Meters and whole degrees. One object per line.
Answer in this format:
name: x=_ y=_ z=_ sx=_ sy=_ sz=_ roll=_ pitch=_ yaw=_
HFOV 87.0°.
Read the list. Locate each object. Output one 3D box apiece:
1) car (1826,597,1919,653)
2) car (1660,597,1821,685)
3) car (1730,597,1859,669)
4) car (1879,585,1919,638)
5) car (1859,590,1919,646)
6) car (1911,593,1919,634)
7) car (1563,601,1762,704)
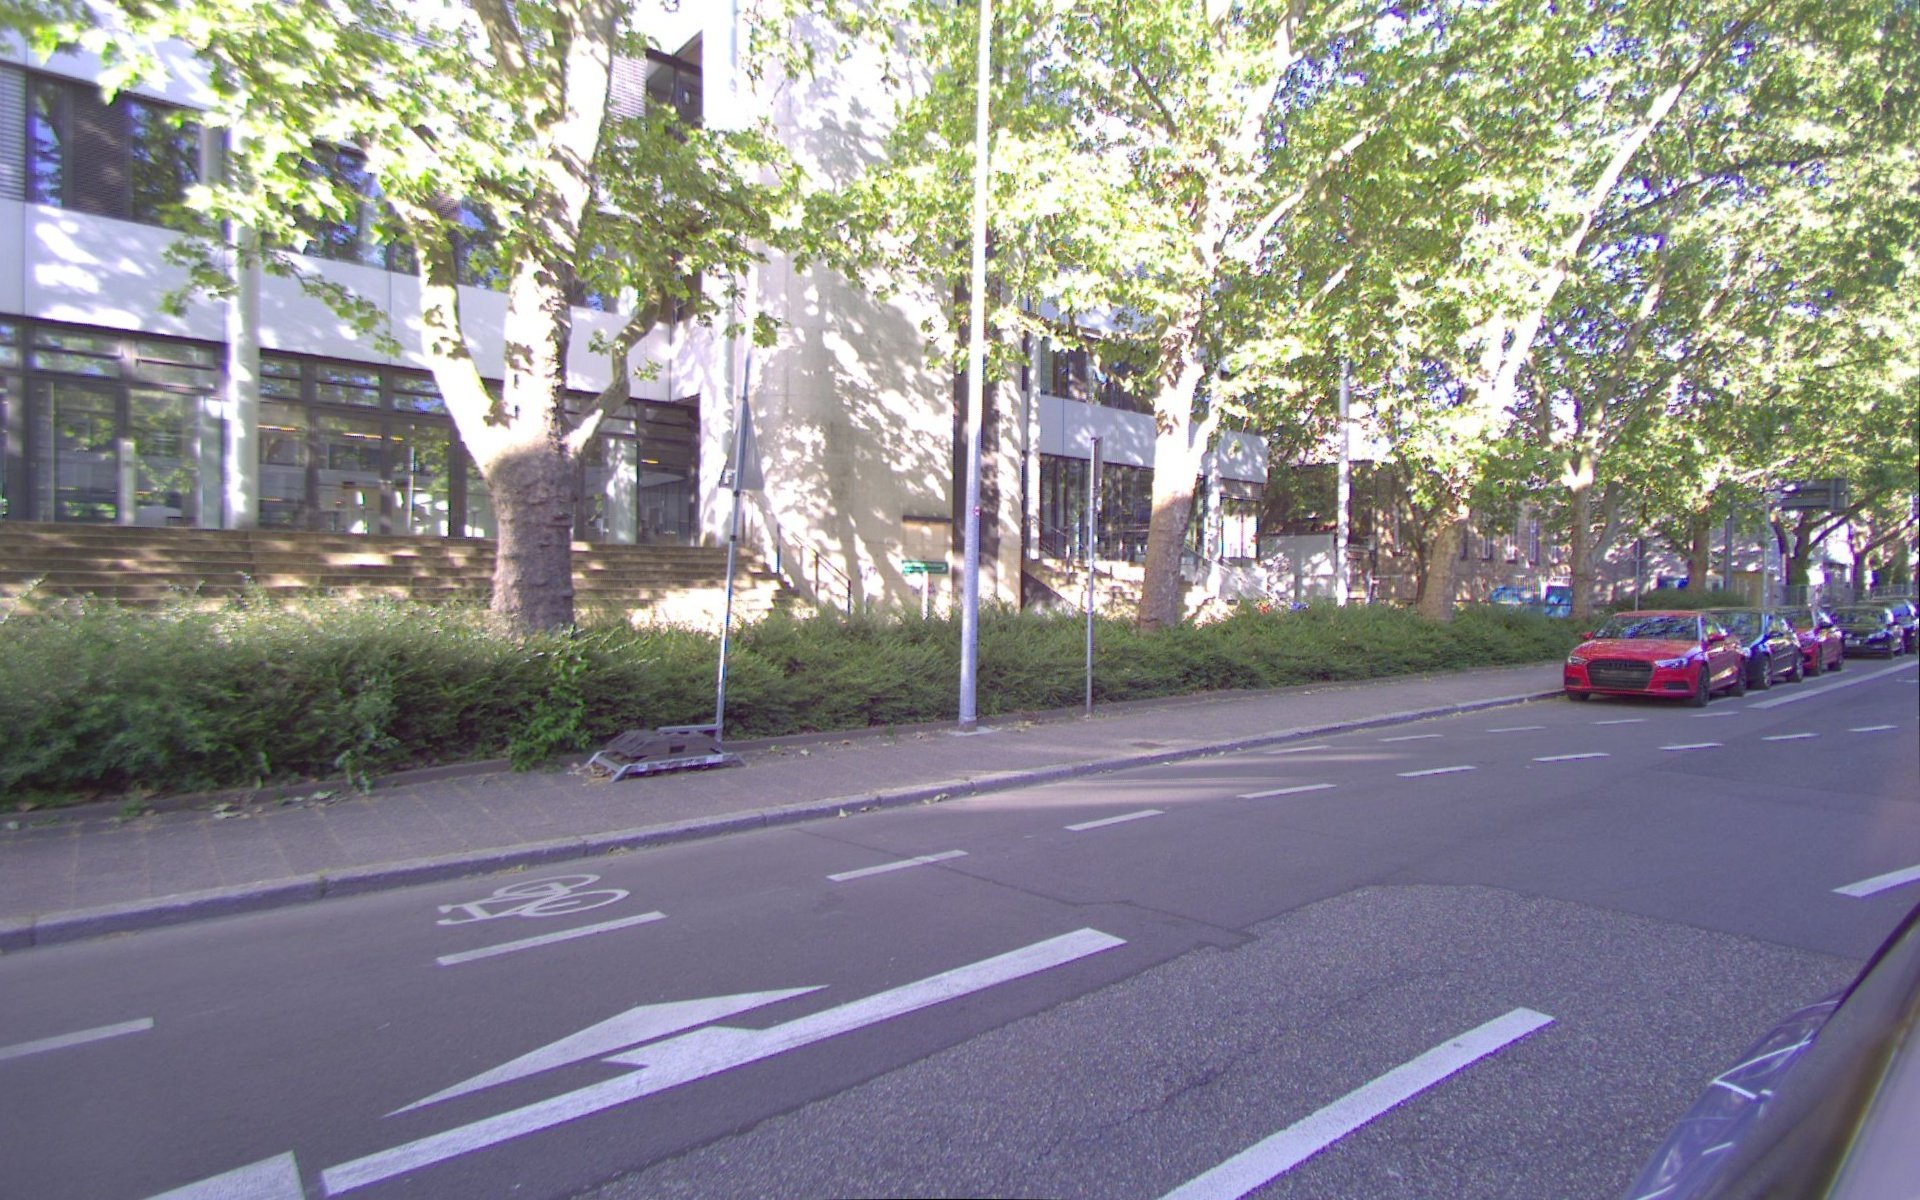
car: x=26.019 y=0.654 z=28.688 sx=3.930 sy=1.469 sz=1.684 roll=0 pitch=1 yaw=-41
car: x=14.814 y=0.703 z=19.135 sx=3.930 sy=1.485 sz=1.684 roll=0 pitch=0 yaw=-41
car: x=18.616 y=0.674 z=22.529 sx=3.715 sy=1.452 sz=1.664 roll=0 pitch=1 yaw=-41
car: x=33.975 y=0.390 z=35.697 sx=4.354 sy=1.790 sz=1.818 roll=0 pitch=1 yaw=-41
car: x=29.520 y=0.523 z=31.642 sx=3.770 sy=1.640 sz=1.684 roll=0 pitch=1 yaw=-41
car: x=38.713 y=0.510 z=39.713 sx=3.801 sy=1.581 sz=1.684 roll=0 pitch=1 yaw=-41
car: x=11.249 y=0.754 z=16.108 sx=3.962 sy=1.439 sz=1.722 roll=0 pitch=-2 yaw=-42
